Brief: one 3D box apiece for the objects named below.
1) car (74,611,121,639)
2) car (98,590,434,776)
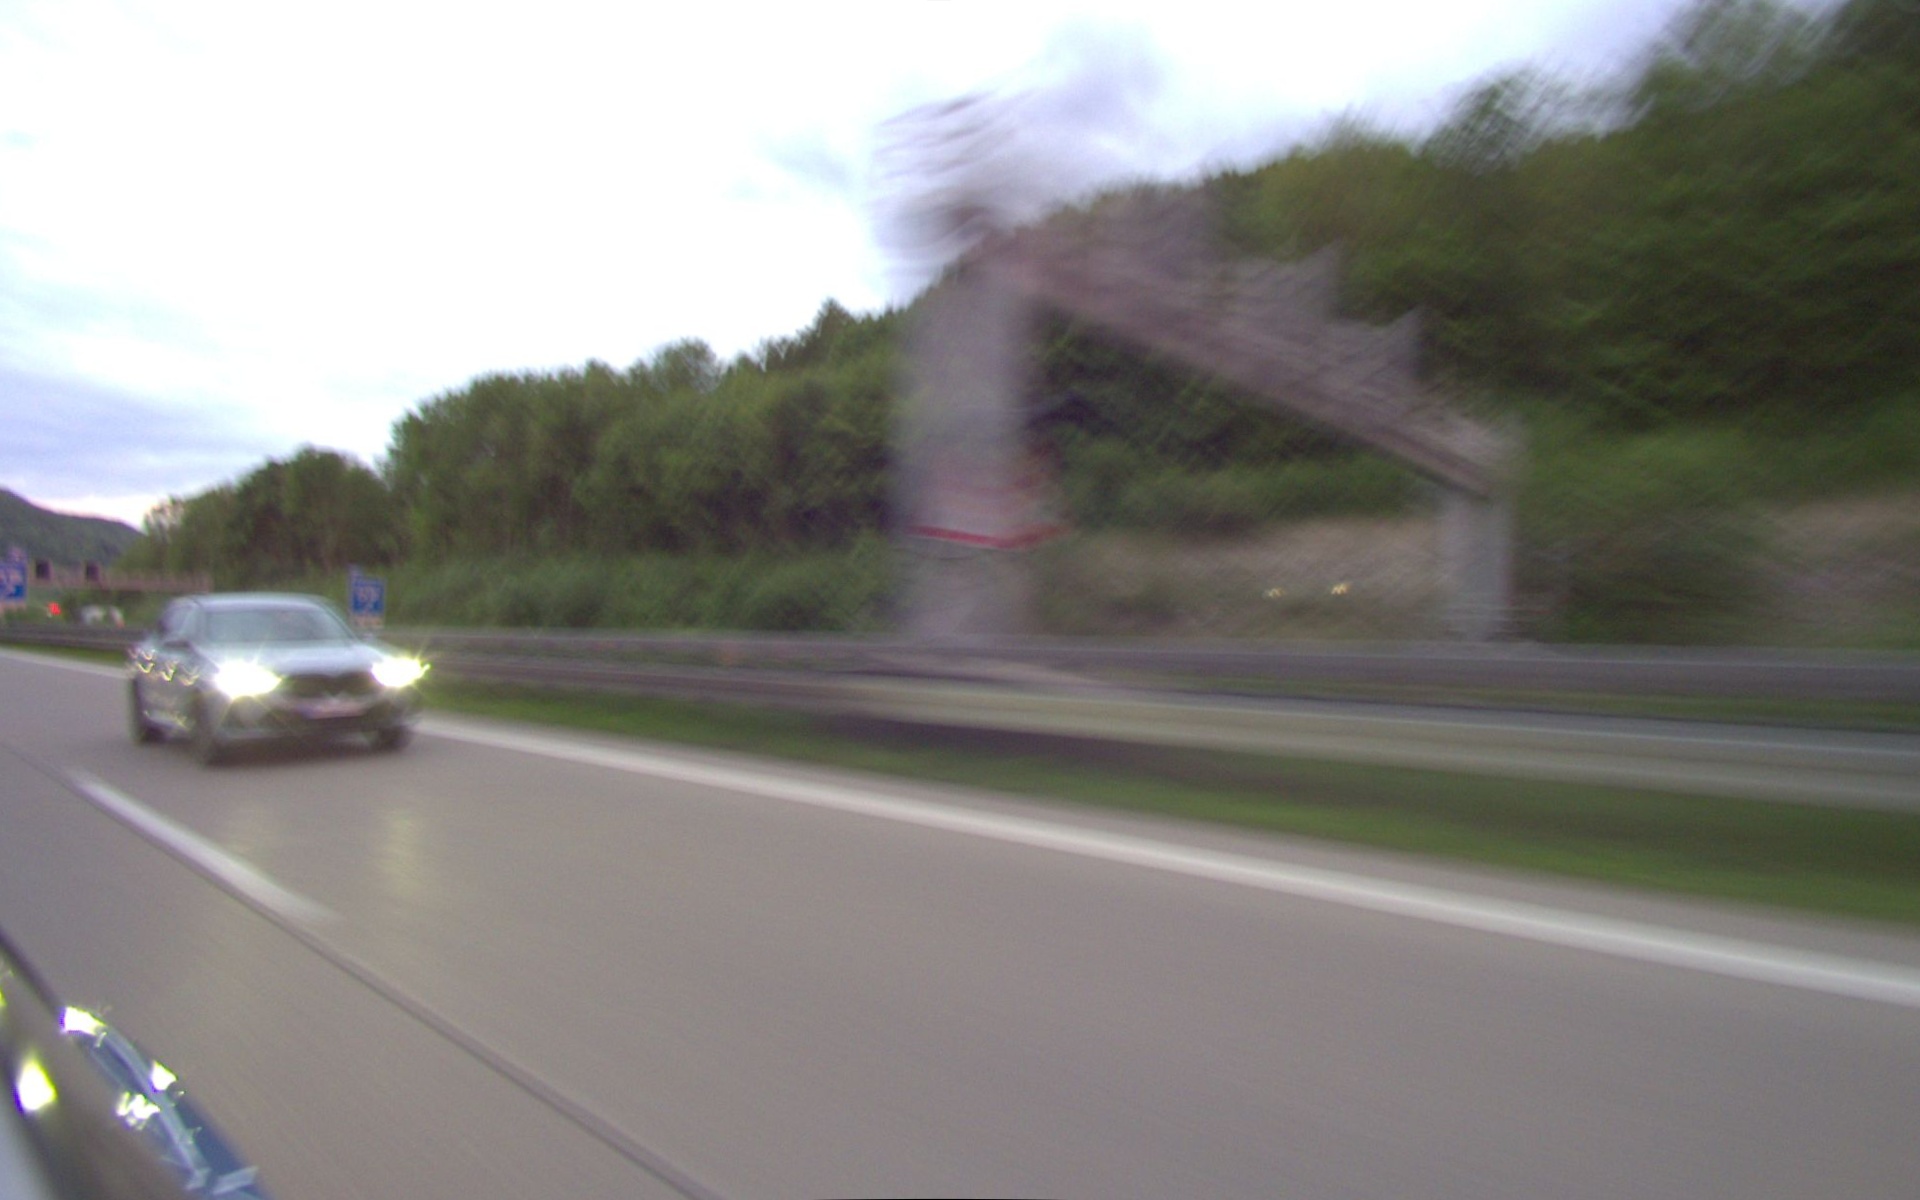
[{"bbox_3d":[-75.175,2.154,88.176,6.716,2.377,2.115,-1,-1,41],"label":"car"},{"bbox_3d":[-8.194,0.784,11.675,5.637,1.672,1.869,-1,-1,41],"label":"car"}]
